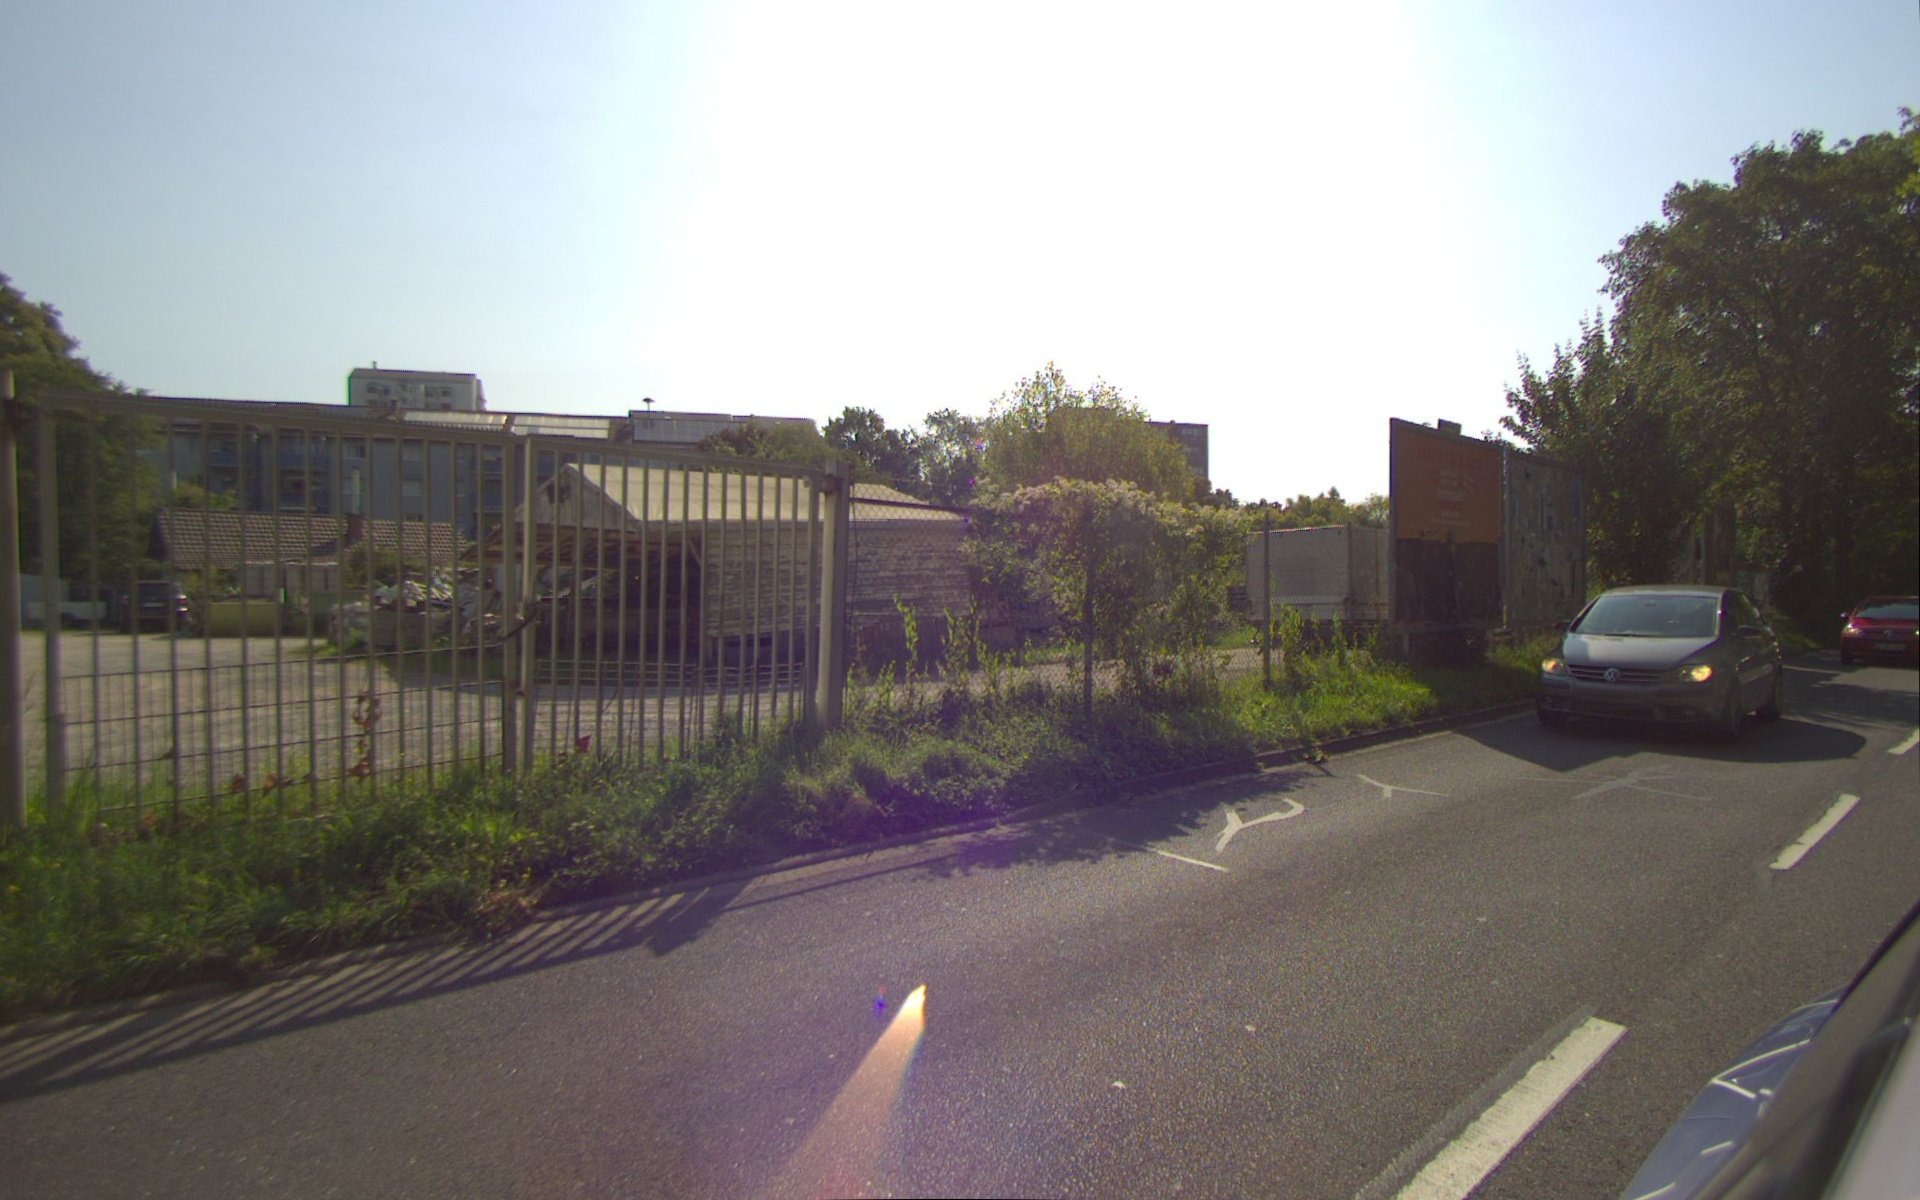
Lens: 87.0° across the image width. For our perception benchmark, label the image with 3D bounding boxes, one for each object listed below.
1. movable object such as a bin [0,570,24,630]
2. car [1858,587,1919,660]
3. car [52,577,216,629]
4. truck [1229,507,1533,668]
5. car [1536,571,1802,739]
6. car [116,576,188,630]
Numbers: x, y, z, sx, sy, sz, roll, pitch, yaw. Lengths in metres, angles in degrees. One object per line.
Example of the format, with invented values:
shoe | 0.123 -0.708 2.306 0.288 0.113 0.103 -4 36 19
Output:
movable object such as a bin | -30.485 0.003 30.772 2.719 1.843 1.519 -1 0 -33
car | 20.310 0.451 21.539 3.415 1.416 1.576 -1 2 -45
car | -28.704 0.066 35.329 4.325 1.690 1.777 -1 0 -39
truck | 7.385 -0.215 17.216 6.792 2.261 1.917 -1 0 -41
car | 8.099 0.485 11.434 3.832 1.576 1.647 -1 1 -42
car | -26.459 0.076 33.205 1.746 1.690 3.757 -1 0 -38
